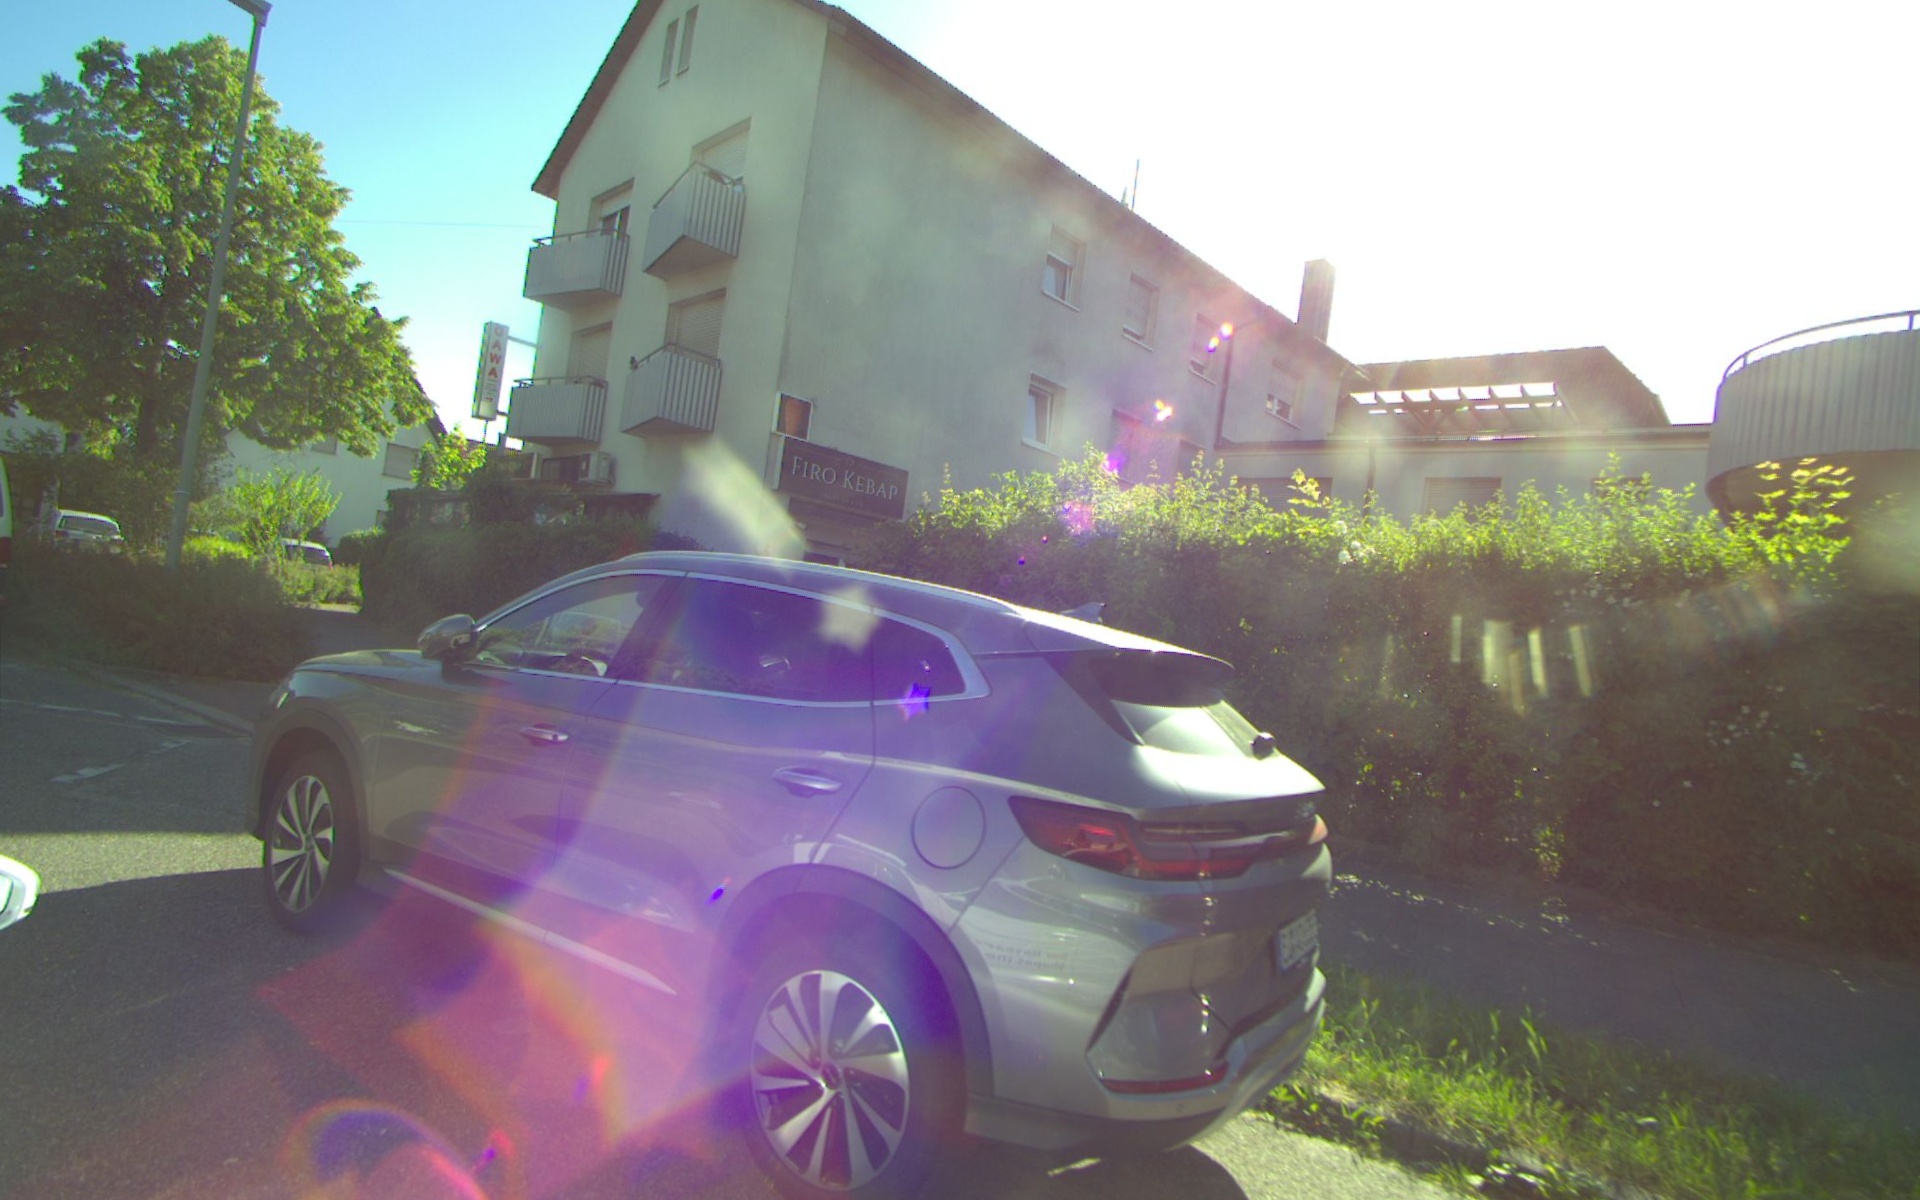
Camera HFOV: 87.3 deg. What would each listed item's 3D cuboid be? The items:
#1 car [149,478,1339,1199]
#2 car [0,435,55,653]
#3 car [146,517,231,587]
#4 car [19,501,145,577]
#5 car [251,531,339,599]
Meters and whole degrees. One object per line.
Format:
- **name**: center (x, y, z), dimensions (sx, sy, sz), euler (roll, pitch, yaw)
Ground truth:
- **car**: center (-1.063, 0.670, 4.154), dimensions (4.499, 1.757, 1.962), euler (7, -2, 31)
- **car**: center (-11.623, -0.819, 10.590), dimensions (4.506, 2.102, 1.996), euler (6, -2, 35)
- **car**: center (-22.905, -1.461, 29.813), dimensions (1.702, 1.534, 4.354), euler (11, -2, -39)
- **car**: center (-24.068, -1.693, 27.514), dimensions (4.736, 1.438, 1.992), euler (8, -1, 43)
- **car**: center (-20.966, -1.137, 31.628), dimensions (1.702, 1.569, 4.354), euler (11, -2, -39)
